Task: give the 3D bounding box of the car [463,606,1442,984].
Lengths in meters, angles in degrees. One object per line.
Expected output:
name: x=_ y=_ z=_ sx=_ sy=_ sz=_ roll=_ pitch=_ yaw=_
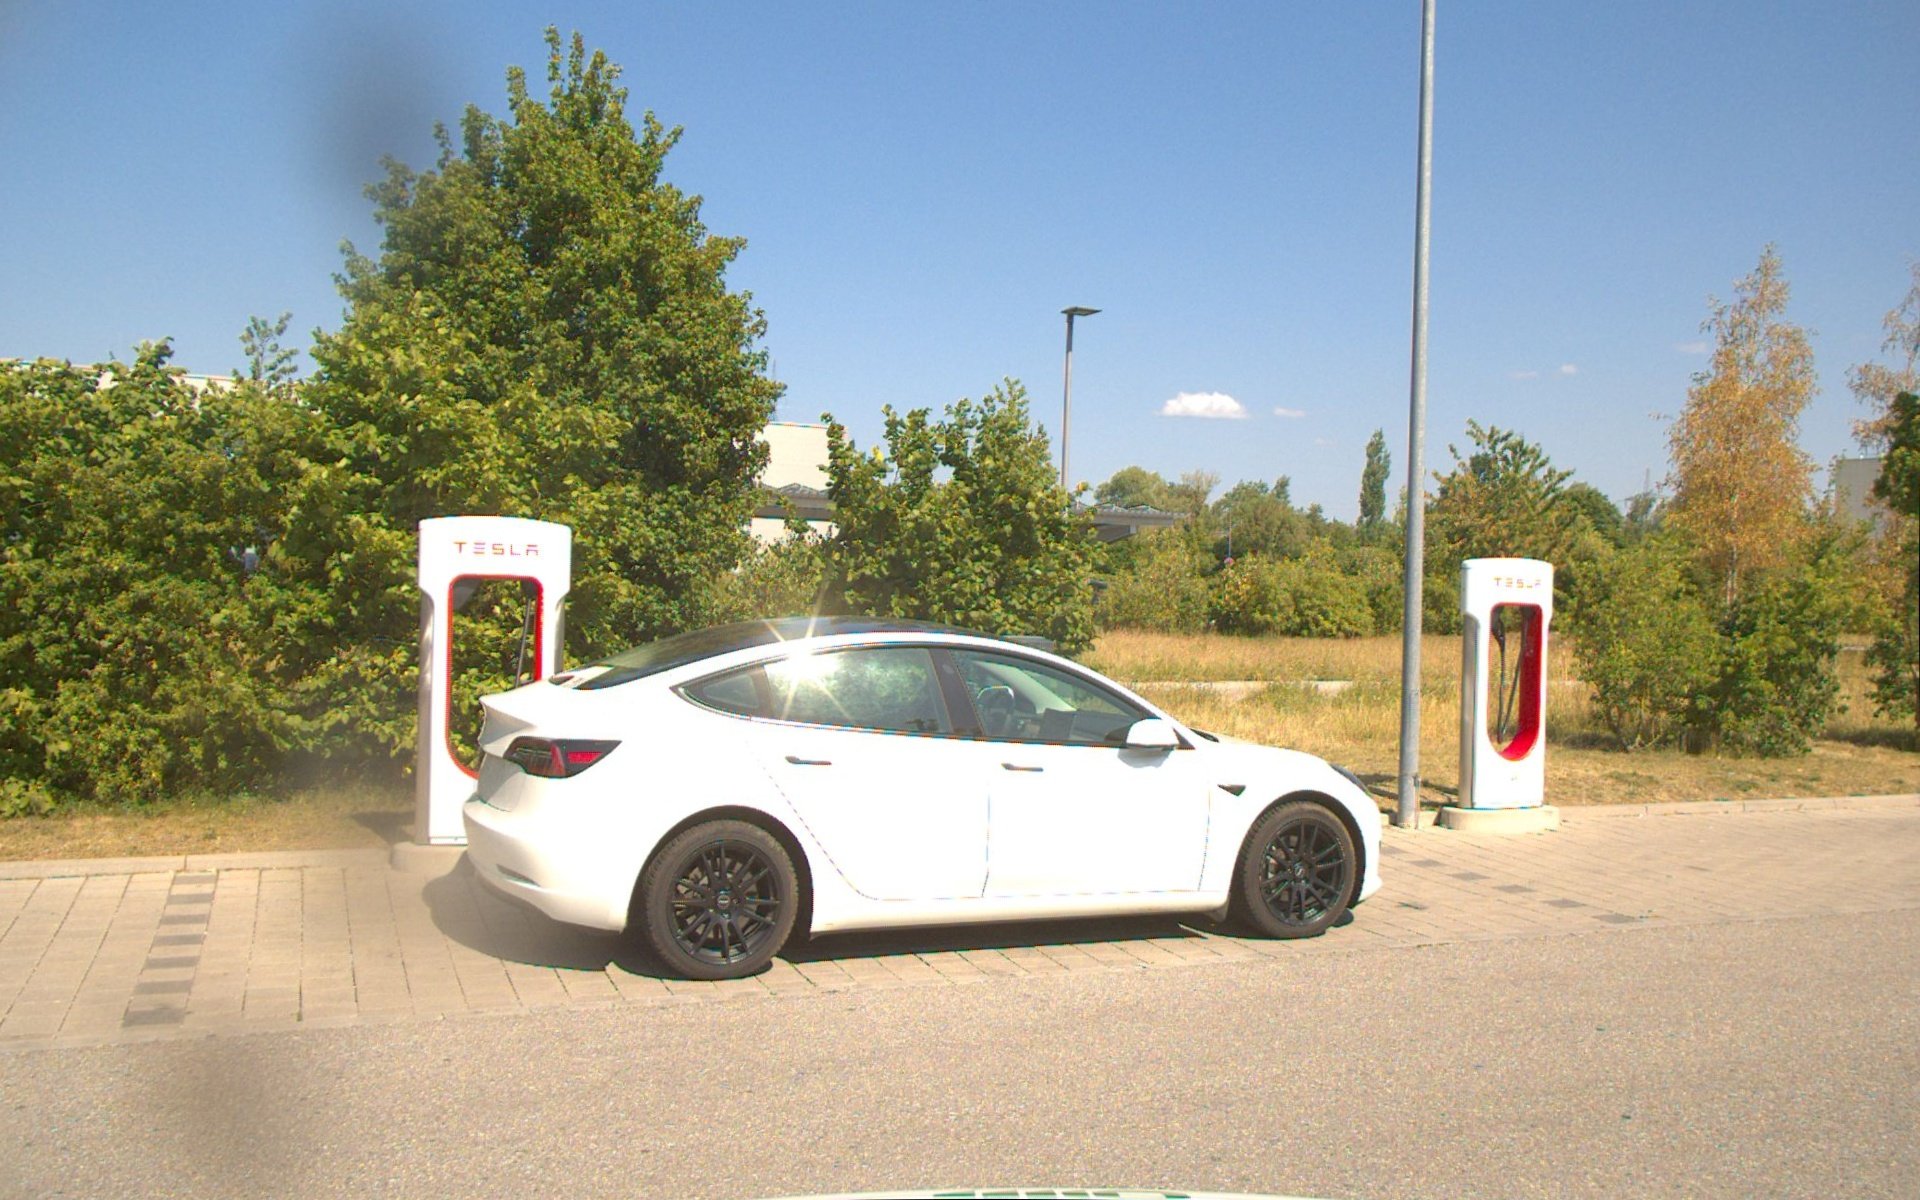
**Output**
car: x=-0.052 y=0.782 z=7.968 sx=4.370 sy=1.401 sz=1.811 roll=1 pitch=1 yaw=-21
